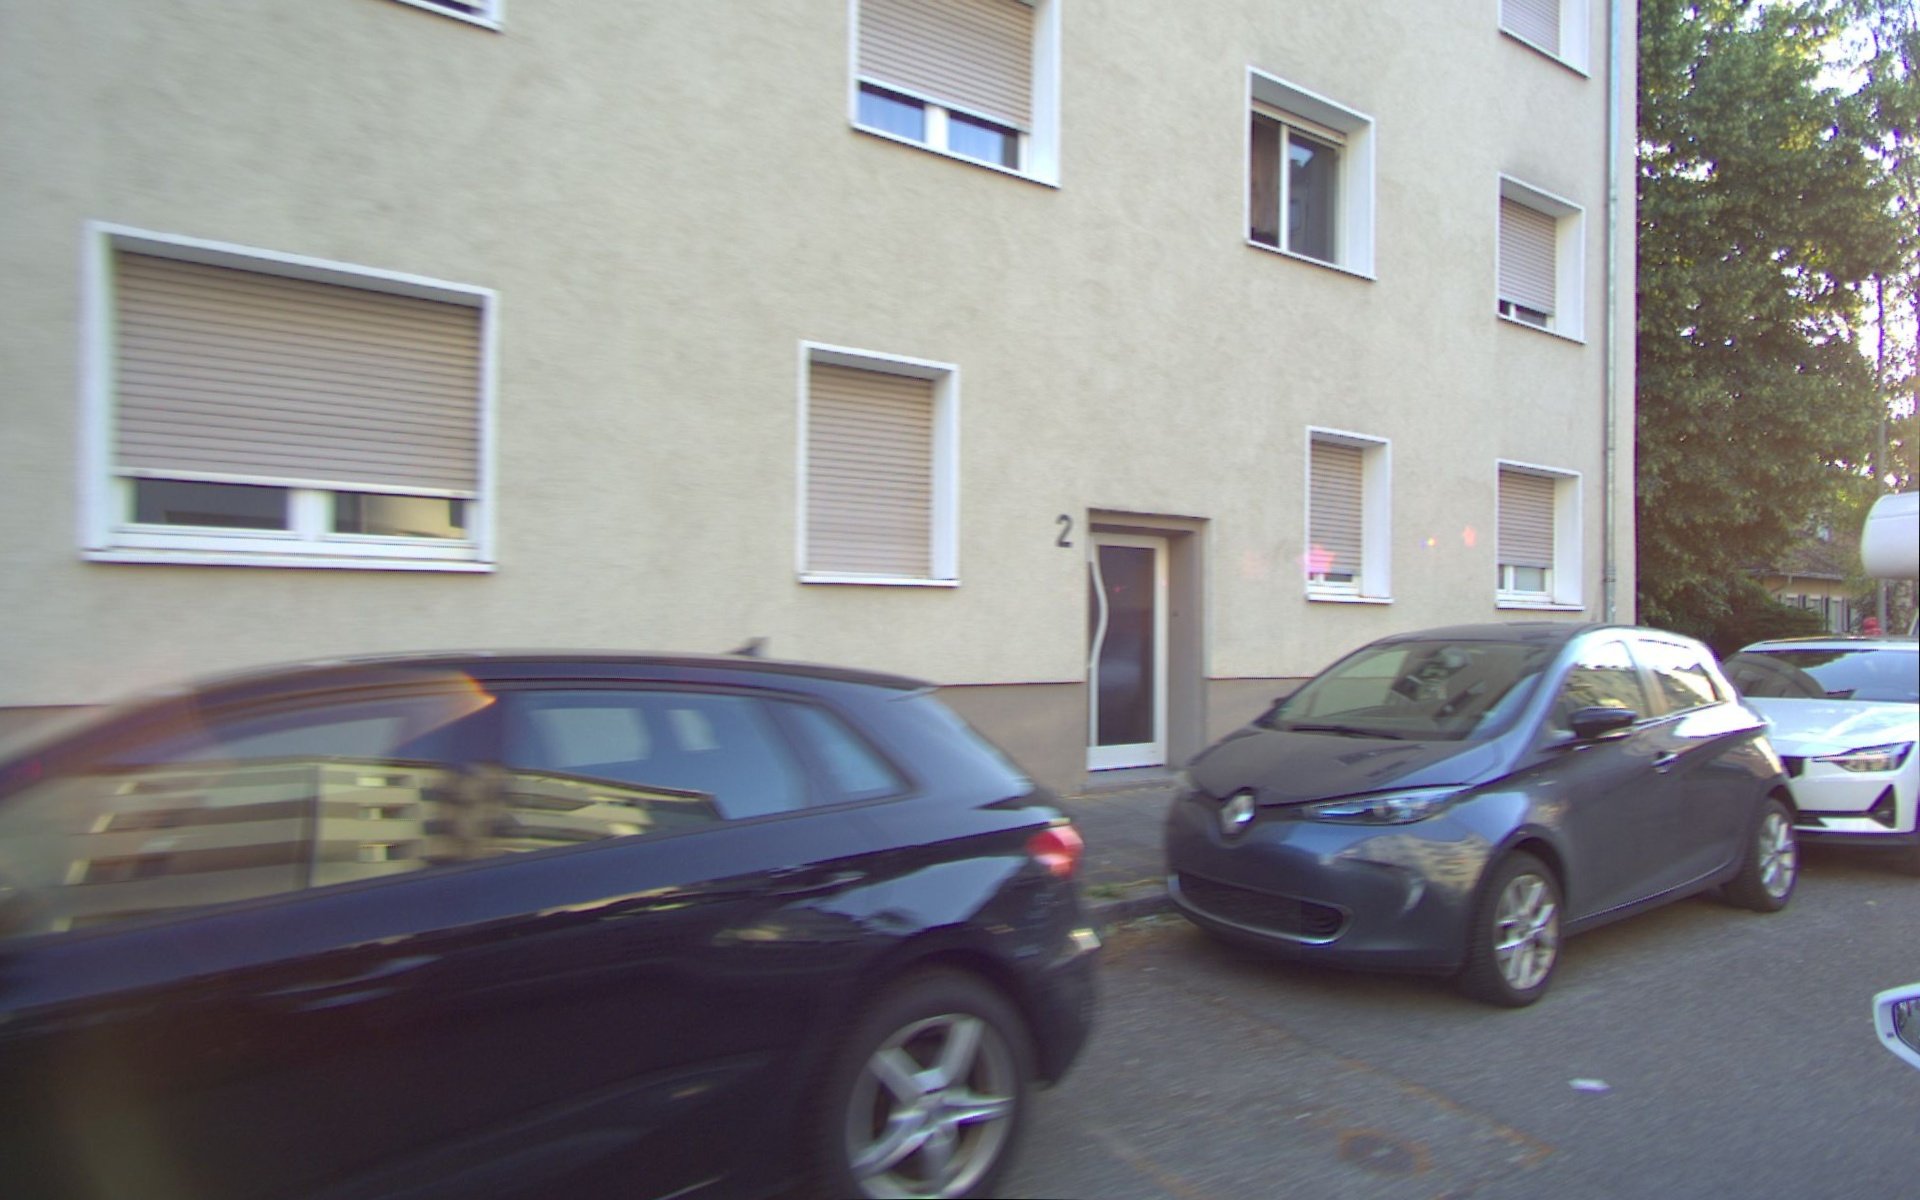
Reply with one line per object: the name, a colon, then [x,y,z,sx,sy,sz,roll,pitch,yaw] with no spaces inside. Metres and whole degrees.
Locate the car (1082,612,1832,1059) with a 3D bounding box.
car: [2.778,0.898,5.378,4.024,1.554,1.780,1,-3,-33]

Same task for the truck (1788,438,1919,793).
truck: [12.740,0.217,11.356,7.923,3.396,2.515,2,-4,-30]

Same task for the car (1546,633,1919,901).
car: [6.844,1.040,7.728,4.852,1.495,1.898,1,-4,-31]

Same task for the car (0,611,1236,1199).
car: [-1.573,0.772,2.532,4.384,1.463,1.982,1,-1,-33]
